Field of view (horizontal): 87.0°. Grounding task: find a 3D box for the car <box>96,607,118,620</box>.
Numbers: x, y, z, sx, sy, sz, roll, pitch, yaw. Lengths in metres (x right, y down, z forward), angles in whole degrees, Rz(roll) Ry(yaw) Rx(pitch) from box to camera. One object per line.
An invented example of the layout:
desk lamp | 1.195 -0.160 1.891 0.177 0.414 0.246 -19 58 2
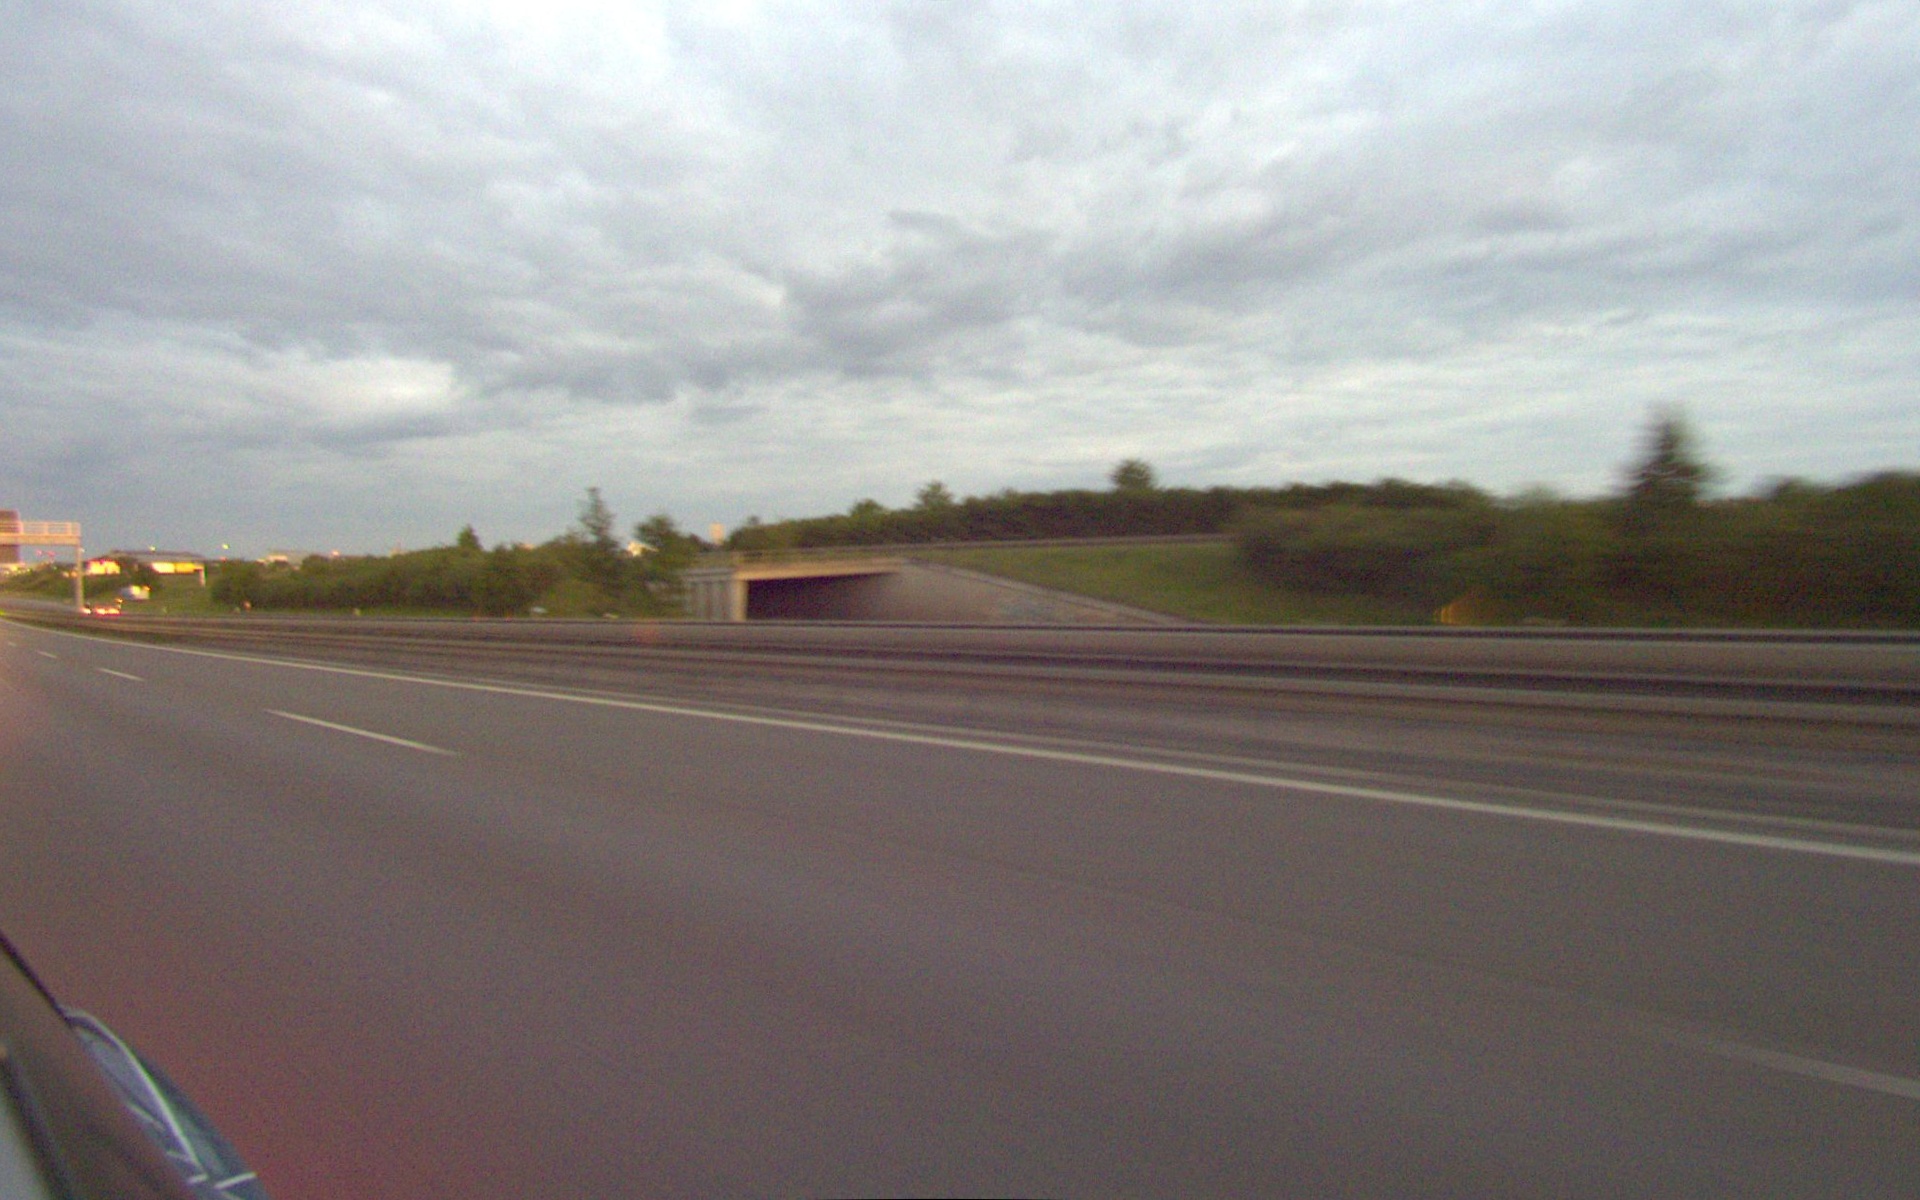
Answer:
car | -107.770 1.727 127.857 4.431 1.411 1.671 1 4 44

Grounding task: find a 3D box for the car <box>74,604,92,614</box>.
car | -131.315 1.336 151.528 4.431 1.411 1.671 1 4 44
